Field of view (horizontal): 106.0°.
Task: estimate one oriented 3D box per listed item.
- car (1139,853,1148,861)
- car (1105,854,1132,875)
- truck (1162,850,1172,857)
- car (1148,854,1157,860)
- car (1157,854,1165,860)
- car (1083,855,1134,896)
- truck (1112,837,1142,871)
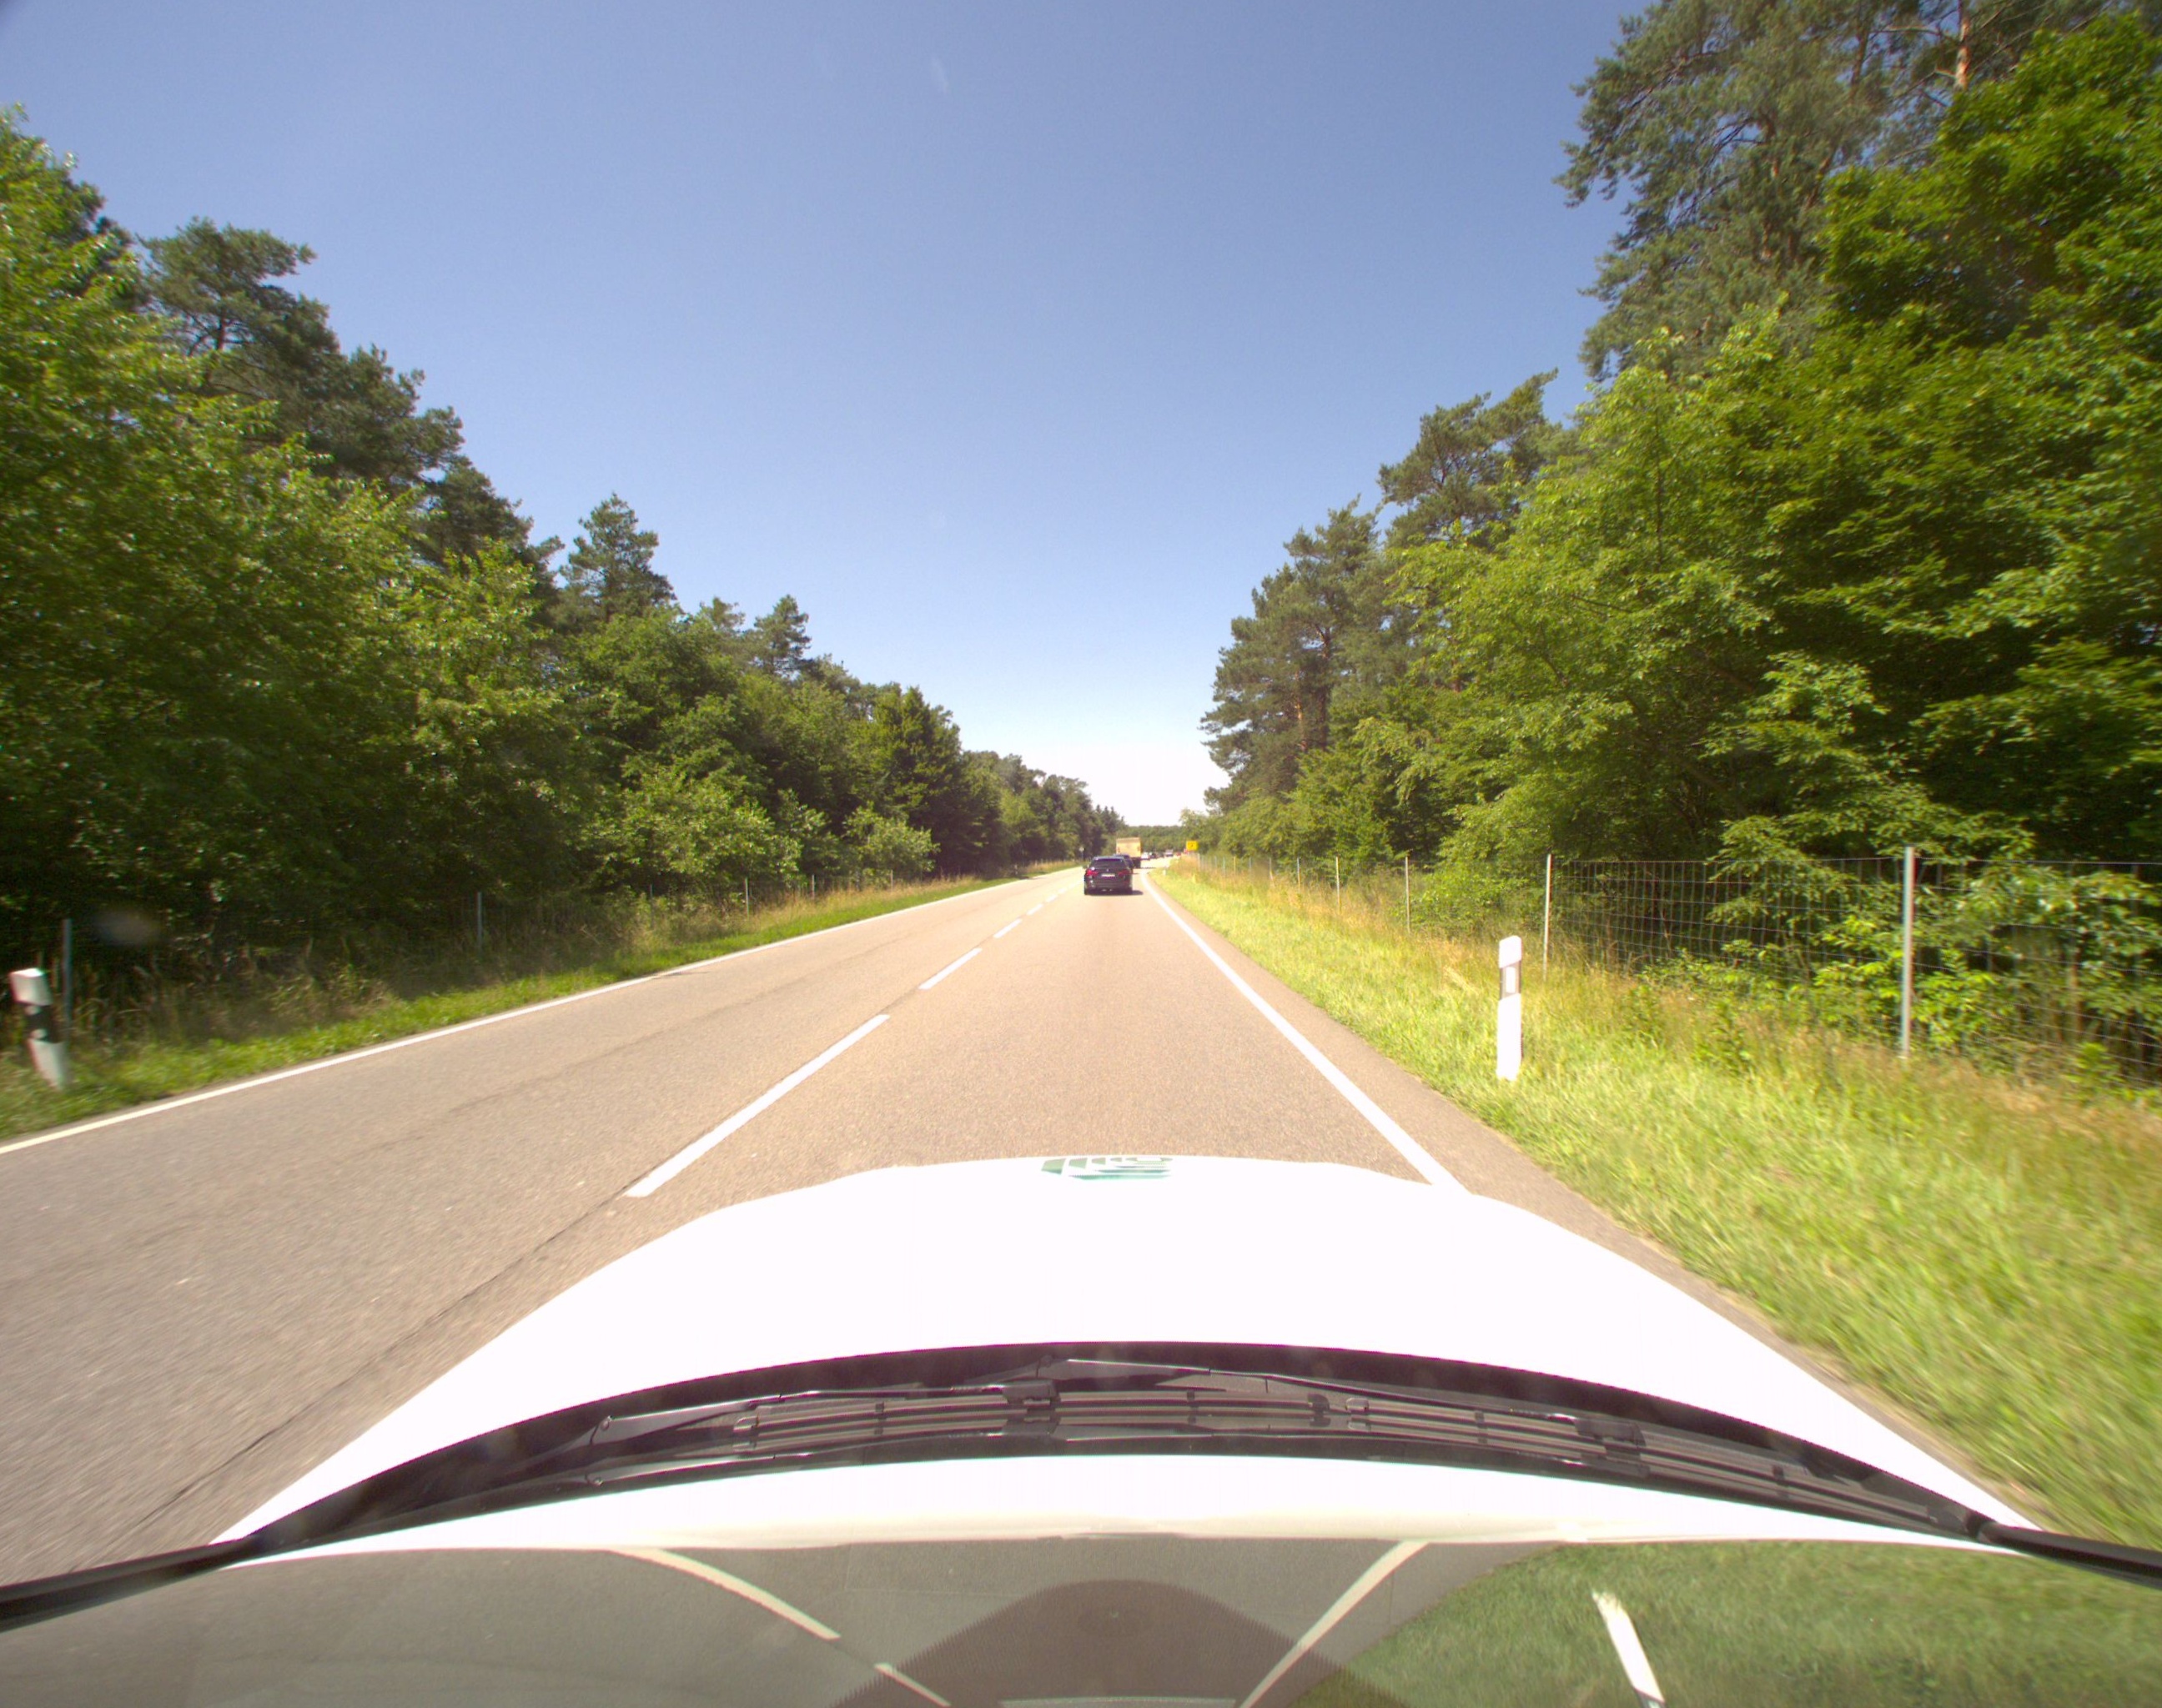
[{"bbox_3d":[12.900,0.587,168.267,1.855,1.605,4.003,-1,0,2],"label":"car"},{"bbox_3d":[2.912,0.796,63.871,1.940,1.541,4.001,-3,0,1],"label":"car"},{"bbox_3d":[26.544,-0.250,251.615,2.555,2.202,4.974,-1,0,1],"label":"truck"},{"bbox_3d":[17.565,0.679,199.525,1.983,1.420,4.007,-1,0,6],"label":"car"},{"bbox_3d":[21.887,0.744,222.031,1.984,1.636,4.005,-3,0,5],"label":"car"},{"bbox_3d":[1.034,0.802,32.244,1.815,1.470,3.999,-2,0,0],"label":"car"},{"bbox_3d":[4.957,-0.017,87.268,2.953,3.387,6.444,-2,0,3],"label":"truck"}]
